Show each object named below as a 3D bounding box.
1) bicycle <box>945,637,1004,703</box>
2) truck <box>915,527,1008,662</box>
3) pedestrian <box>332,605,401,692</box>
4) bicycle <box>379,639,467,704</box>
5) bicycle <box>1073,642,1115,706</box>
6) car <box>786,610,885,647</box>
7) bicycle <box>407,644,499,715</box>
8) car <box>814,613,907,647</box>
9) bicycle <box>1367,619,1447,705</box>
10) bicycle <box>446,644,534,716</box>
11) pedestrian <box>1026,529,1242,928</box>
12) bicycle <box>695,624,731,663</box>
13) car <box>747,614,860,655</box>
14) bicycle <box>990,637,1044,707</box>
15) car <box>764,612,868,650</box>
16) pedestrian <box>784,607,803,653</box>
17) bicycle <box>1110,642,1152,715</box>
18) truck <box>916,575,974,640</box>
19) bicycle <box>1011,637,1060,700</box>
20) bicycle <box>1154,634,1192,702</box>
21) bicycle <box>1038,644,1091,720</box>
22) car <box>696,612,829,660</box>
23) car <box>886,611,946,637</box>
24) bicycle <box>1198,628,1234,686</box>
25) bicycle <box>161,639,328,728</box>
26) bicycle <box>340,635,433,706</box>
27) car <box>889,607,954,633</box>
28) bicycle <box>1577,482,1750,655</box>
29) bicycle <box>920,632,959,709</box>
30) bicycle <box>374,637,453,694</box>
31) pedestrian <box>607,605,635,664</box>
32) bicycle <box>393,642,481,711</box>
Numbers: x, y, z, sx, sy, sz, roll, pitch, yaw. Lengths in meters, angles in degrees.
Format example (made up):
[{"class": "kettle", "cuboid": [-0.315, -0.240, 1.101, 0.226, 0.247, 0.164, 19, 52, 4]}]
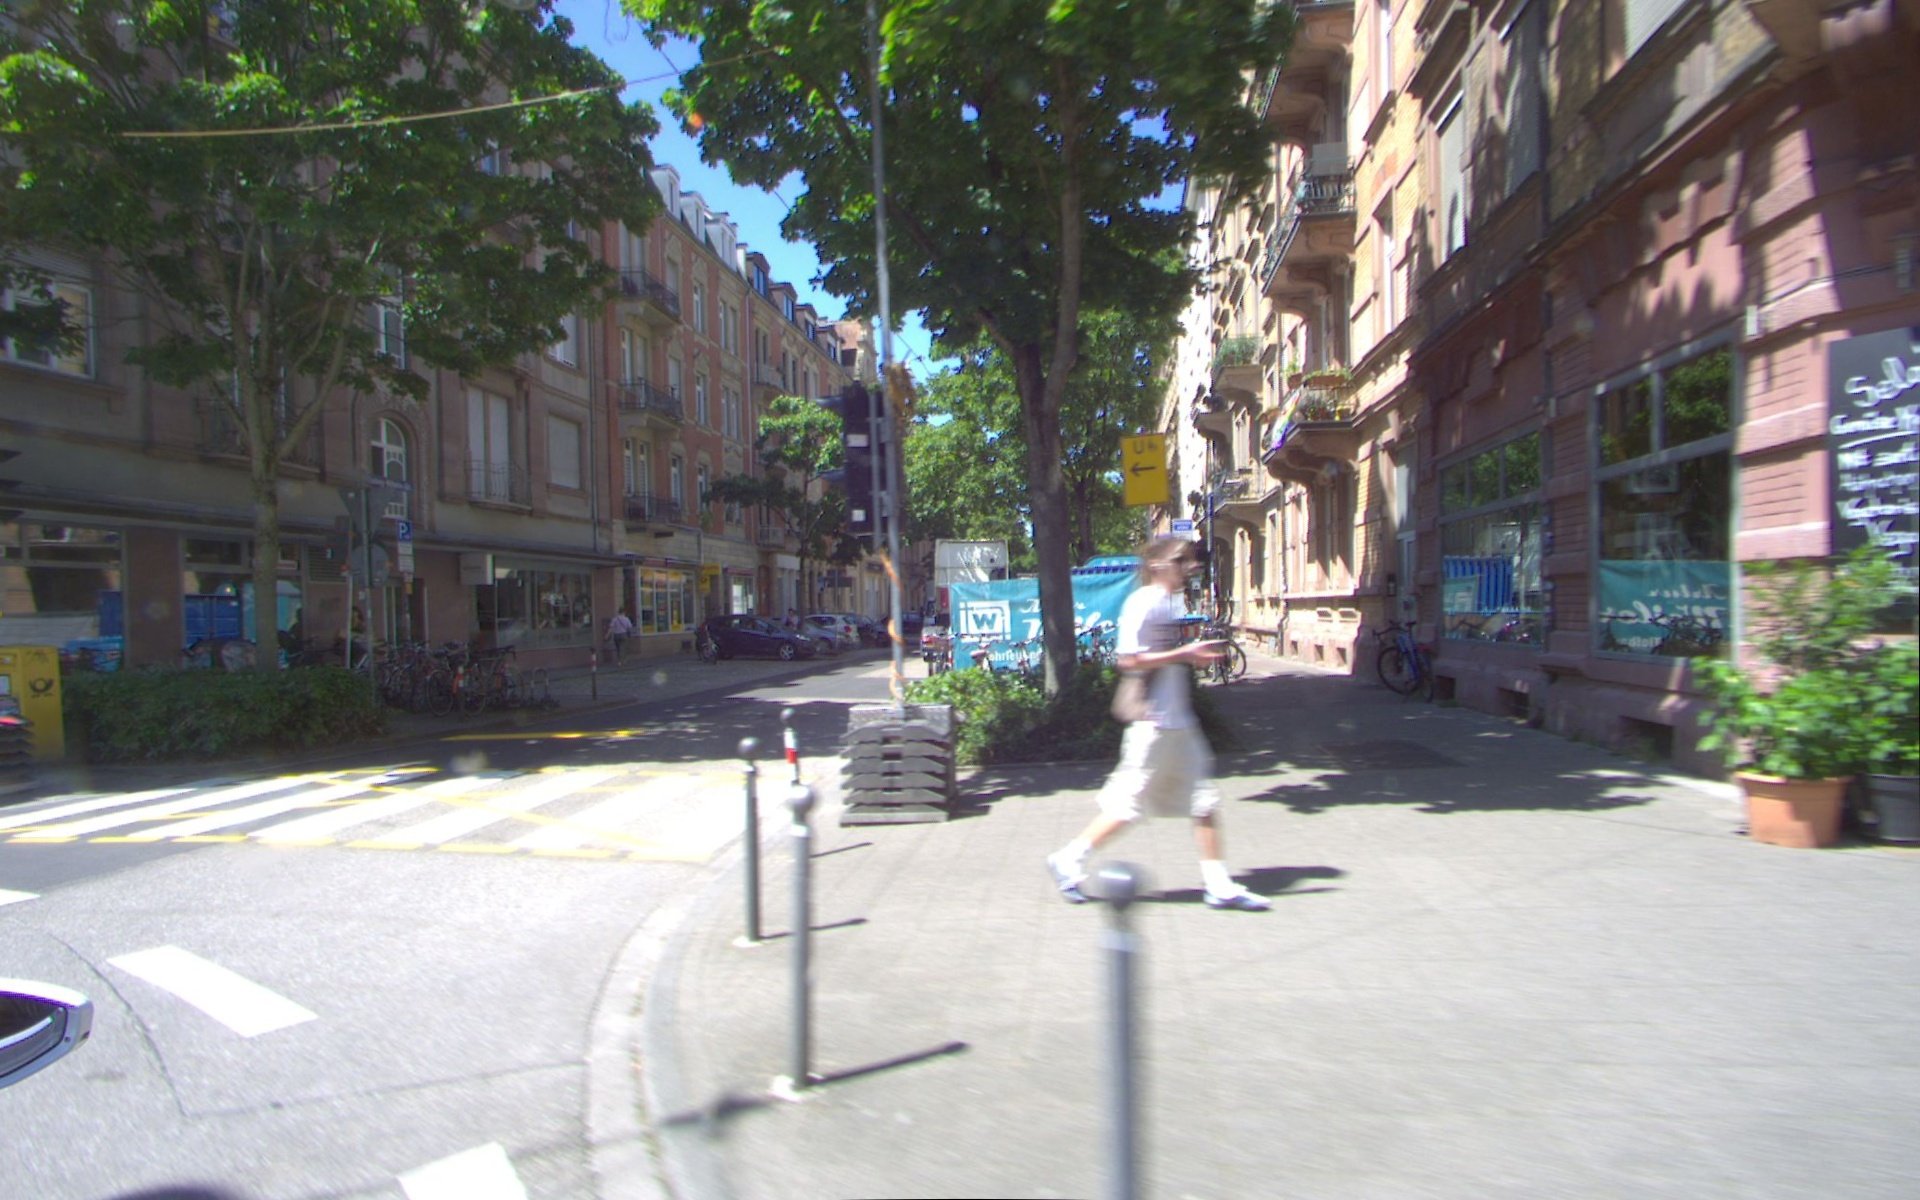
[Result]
[{"class": "bicycle", "cuboid": [0.243, 1.037, 15.296, 0.499, 0.883, 2.073, -1, 0, 12]}, {"class": "truck", "cuboid": [0.143, -0.139, 32.338, 2.245, 4.006, 4.476, -1, 0, 9]}, {"class": "pedestrian", "cuboid": [-11.669, 0.938, 19.718, 0.772, 1.655, 0.858, -1, 0, 7]}, {"class": "bicycle", "cuboid": [-9.222, 1.206, 17.264, 0.461, 1.010, 1.766, 1, 0, 4]}, {"class": "bicycle", "cuboid": [2.171, 1.160, 16.084, 0.499, 0.883, 2.073, -1, 0, 12]}, {"class": "car", "cuboid": [-5.197, 1.186, 42.050, 3.778, 1.458, 1.792, 0, 0, 6]}, {"class": "bicycle", "cuboid": [-8.055, 1.239, 15.988, 0.461, 1.010, 1.766, 1, 0, 4]}, {"class": "car", "cuboid": [-4.383, 1.312, 44.417, 3.778, 1.458, 1.792, 0, 0, 6]}, {"class": "bicycle", "cuboid": [5.830, 0.779, 13.141, 0.512, 1.021, 1.696, -1, 0, 9]}, {"class": "bicycle", "cuboid": [-7.483, 1.252, 16.037, 0.461, 1.010, 1.766, 1, 0, 4]}, {"class": "pedestrian", "cuboid": [0.837, 0.584, 4.809, 0.858, 1.755, 0.477, -2, 0, 27]}, {"class": "bicycle", "cuboid": [-7.239, 1.253, 29.266, 0.536, 1.059, 1.928, -1, 0, -29]}, {"class": "car", "cuboid": [-5.731, 1.249, 36.855, 3.778, 1.458, 1.792, 0, 0, 6]}, {"class": "bicycle", "cuboid": [0.828, 0.993, 14.205, 0.499, 0.883, 1.744, -1, 0, 12]}, {"class": "car", "cuboid": [-5.686, 1.216, 39.916, 3.778, 1.458, 1.792, 0, 0, 6]}, {"class": "pedestrian", "cuboid": [-5.853, 1.044, 35.193, 0.533, 1.604, 0.478, -1, 0, 6]}, {"class": "bicycle", "cuboid": [2.435, 1.068, 14.143, 0.499, 0.883, 2.073, -1, 0, 12]}, {"class": "truck", "cuboid": [-0.655, 0.356, 47.519, 1.962, 2.894, 4.267, -1, 0, 9]}, {"class": "bicycle", "cuboid": [1.234, 1.067, 16.093, 0.499, 0.883, 2.073, -1, 0, 12]}, {"class": "bicycle", "cuboid": [3.140, 0.975, 14.790, 0.499, 0.883, 2.073, -1, 0, 12]}, {"class": "bicycle", "cuboid": [1.453, 1.081, 13.674, 0.499, 0.883, 2.073, -1, 0, 12]}, {"class": "car", "cuboid": [-6.260, 1.123, 31.943, 3.778, 1.458, 1.792, 0, 0, 6]}, {"class": "car", "cuboid": [-2.600, 1.442, 59.855, 3.356, 1.483, 1.618, -1, 0, 5]}, {"class": "bicycle", "cuboid": [4.416, 0.962, 17.356, 0.499, 0.883, 2.073, -1, 0, 12]}, {"class": "bicycle", "cuboid": [-10.419, 1.187, 14.679, 0.508, 1.147, 1.980, -1, 0, 25]}, {"class": "bicycle", "cuboid": [-9.801, 1.182, 17.179, 0.461, 1.095, 1.766, 1, 0, 4]}, {"class": "car", "cuboid": [-2.381, 1.238, 62.554, 3.855, 1.483, 1.618, -1, 0, 5]}, {"class": "bicycle", "cuboid": [5.245, -0.204, 7.559, 0.500, 1.167, 1.426, -1, 0, 10]}, {"class": "bicycle", "cuboid": [-0.318, 1.108, 16.172, 0.499, 1.121, 1.785, -1, 0, 2]}, {"class": "bicycle", "cuboid": [-10.677, 1.252, 19.611, 0.495, 1.010, 1.729, 1, 0, 4]}, {"class": "pedestrian", "cuboid": [-9.573, 0.965, 28.296, 0.549, 1.636, 0.492, -1, 0, 13]}, {"class": "bicycle", "cuboid": [-8.590, 1.235, 16.511, 0.461, 1.019, 1.689, 1, 0, 4]}]
